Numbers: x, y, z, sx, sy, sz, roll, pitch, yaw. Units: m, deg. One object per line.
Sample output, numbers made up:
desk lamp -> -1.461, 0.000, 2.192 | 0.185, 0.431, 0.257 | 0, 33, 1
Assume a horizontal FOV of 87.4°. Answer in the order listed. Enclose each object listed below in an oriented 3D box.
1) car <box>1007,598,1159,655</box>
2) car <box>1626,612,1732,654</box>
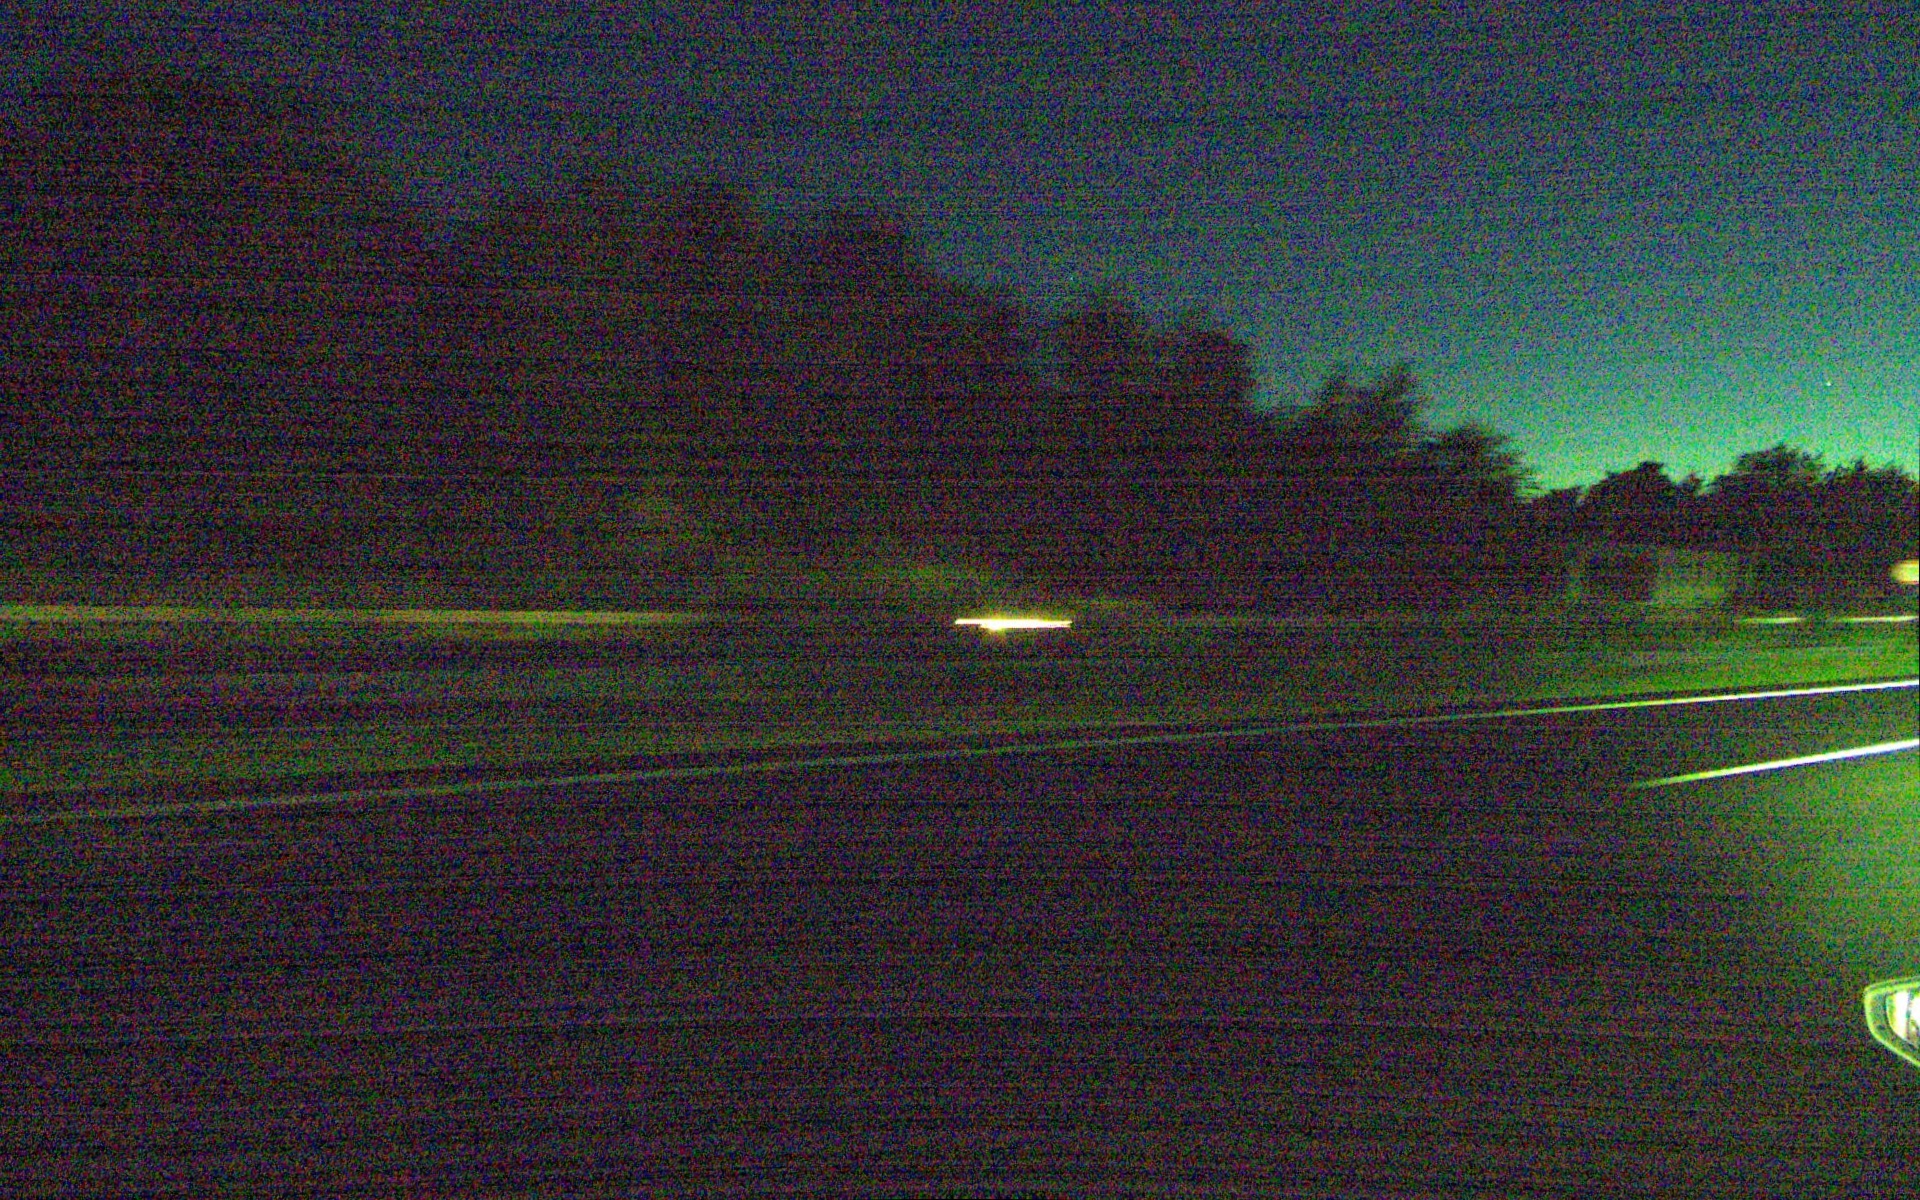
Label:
car -> 3.554, 0.739, 28.937 | 3.954, 1.528, 1.983 | 1, 0, -31
car -> 28.050, 1.247, 39.187 | 3.954, 1.528, 1.983 | 0, 0, -31
